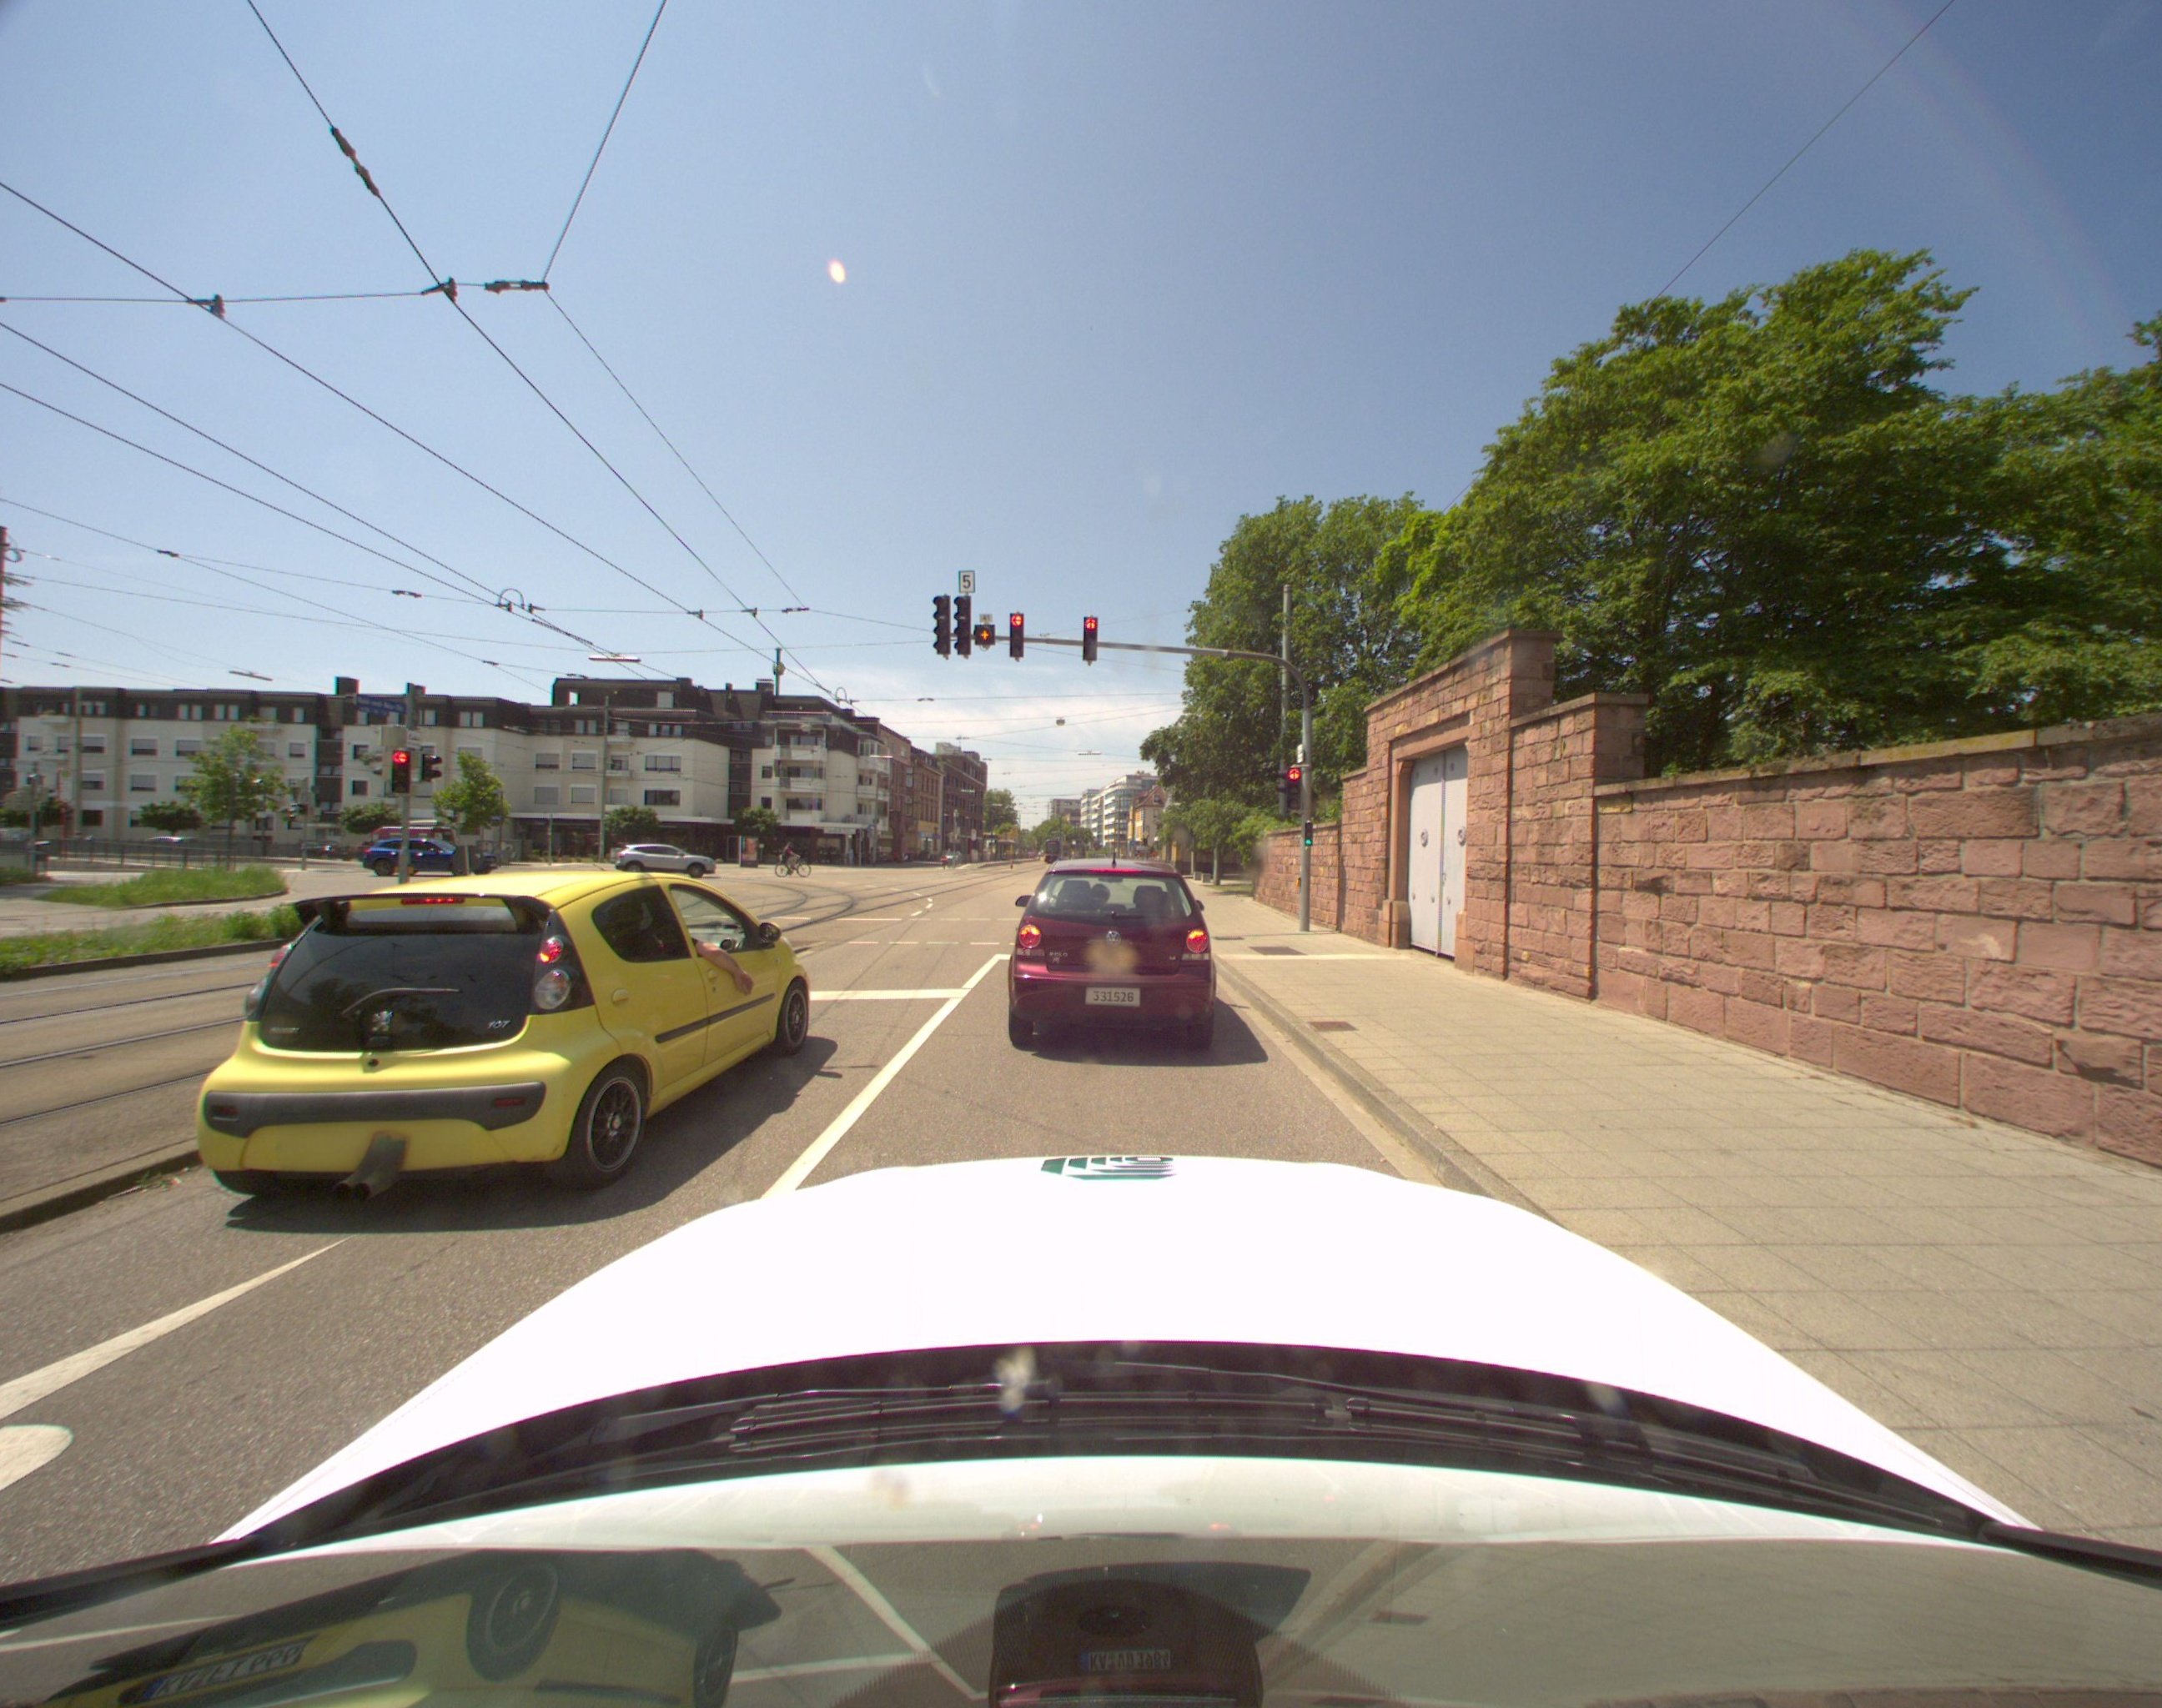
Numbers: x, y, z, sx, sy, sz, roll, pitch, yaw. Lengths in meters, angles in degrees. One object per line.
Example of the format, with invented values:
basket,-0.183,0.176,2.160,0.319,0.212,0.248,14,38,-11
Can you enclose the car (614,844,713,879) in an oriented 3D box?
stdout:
car,-20.058,0.359,39.304,4.161,1.584,1.922,0,-1,-27

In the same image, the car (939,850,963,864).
car,-13.980,0.317,87.893,1.682,1.462,4.003,1,0,3

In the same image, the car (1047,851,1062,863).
car,-3.830,0.472,116.916,1.931,1.641,4.000,0,-1,1

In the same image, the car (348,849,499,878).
car,-28.768,0.407,35.791,4.773,1.237,1.931,0,-1,-13

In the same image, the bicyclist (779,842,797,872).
bicyclist,-15.030,0.165,41.829,0.756,1.501,0.476,0,-1,-38

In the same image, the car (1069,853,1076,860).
car,-2.091,0.609,212.359,1.774,1.609,4.150,0,0,0

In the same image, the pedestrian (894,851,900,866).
pedestrian,-18.375,0.429,81.244,0.482,1.541,0.538,0,-1,-2

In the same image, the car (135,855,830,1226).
car,-2.933,0.760,4.948,1.717,1.445,3.293,-1,0,1

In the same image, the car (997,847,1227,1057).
car,0.247,0.699,7.835,1.604,1.463,4.085,1,0,1

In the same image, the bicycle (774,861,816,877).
bicycle,-14.768,0.770,42.034,1.996,0.783,0.461,0,-1,-38

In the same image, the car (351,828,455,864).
car,-45.537,-0.482,54.789,5.048,2.341,2.244,0,-1,0

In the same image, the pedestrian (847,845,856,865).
pedestrian,-20.289,0.130,71.924,0.614,1.754,0.499,1,-1,-43

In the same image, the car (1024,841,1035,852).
car,-9.816,-1.491,154.392,1.728,2.013,4.002,1,0,2
